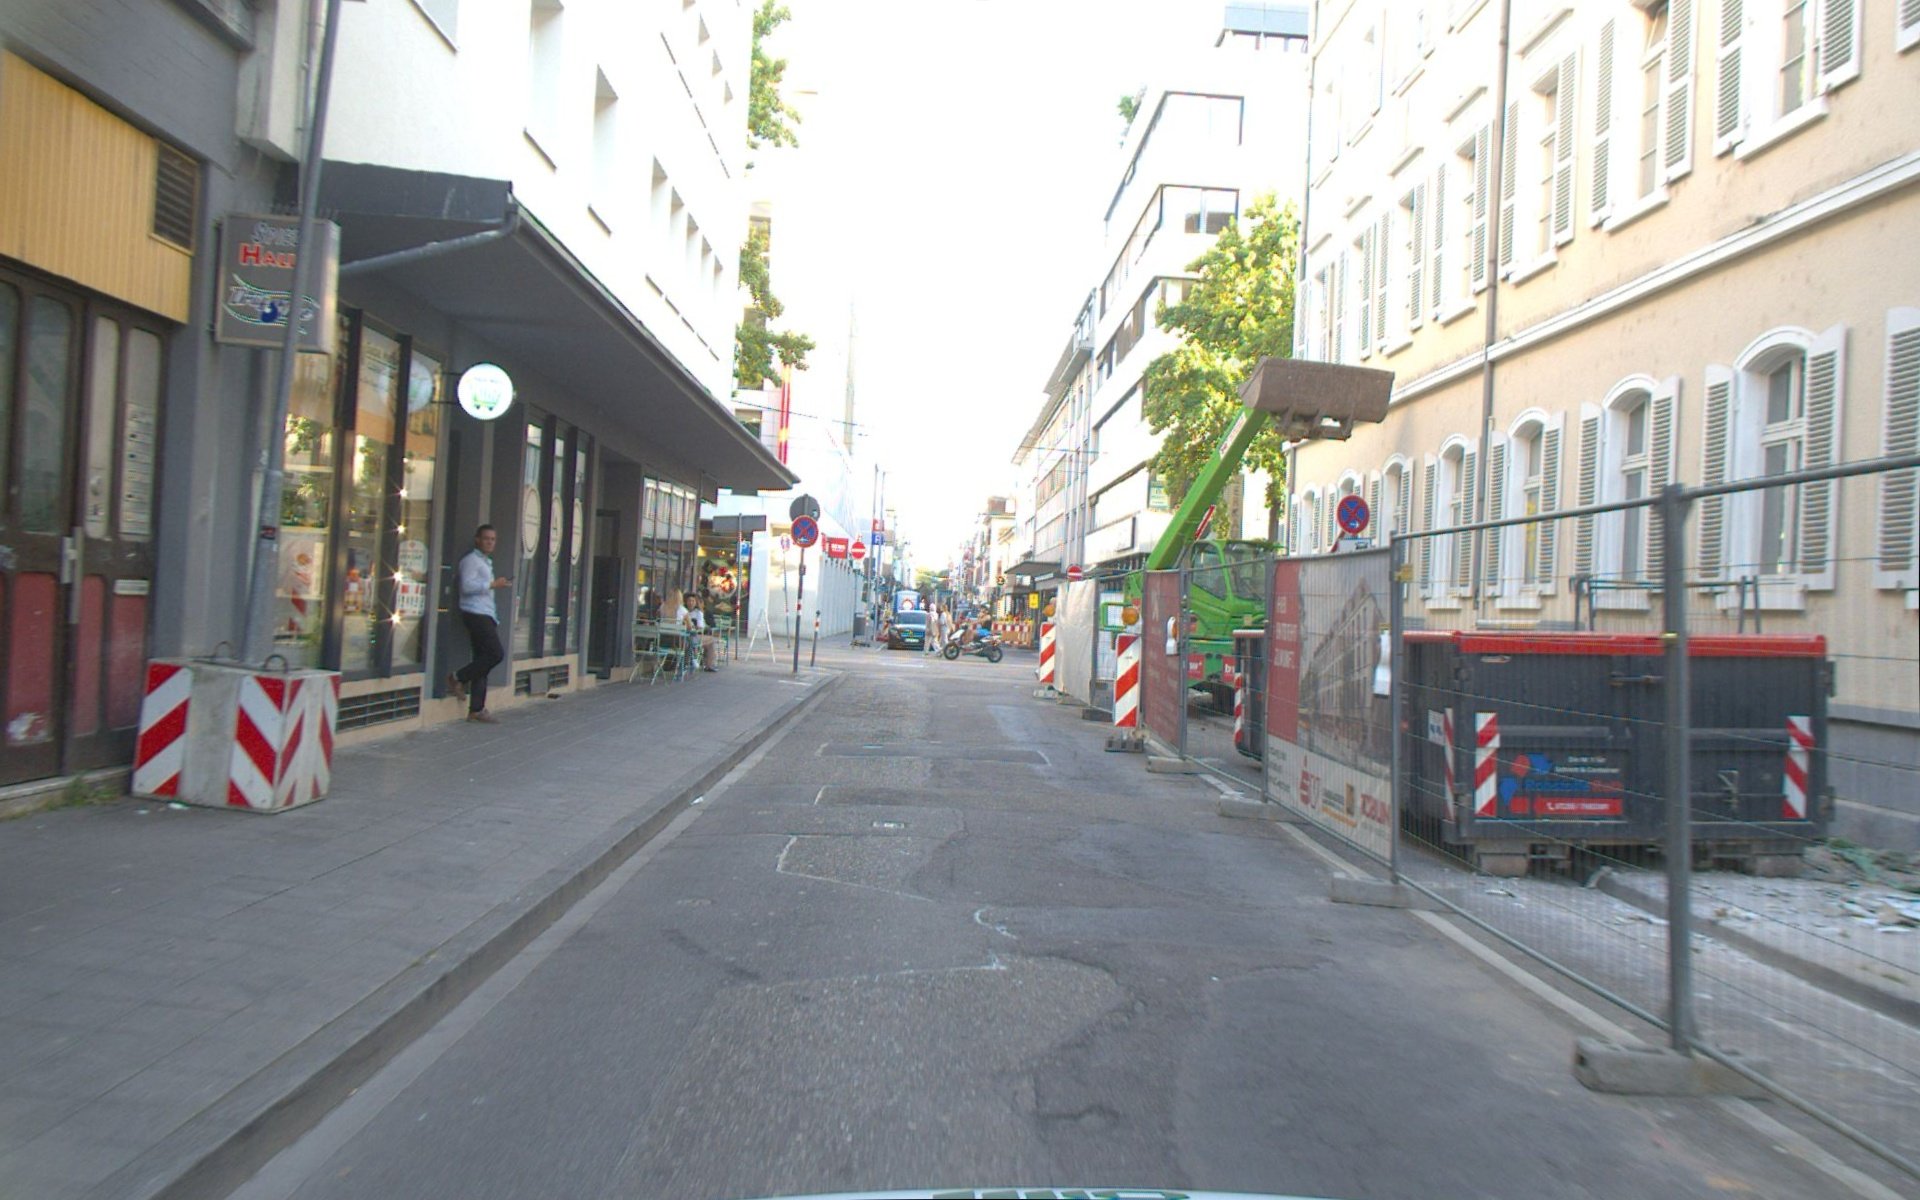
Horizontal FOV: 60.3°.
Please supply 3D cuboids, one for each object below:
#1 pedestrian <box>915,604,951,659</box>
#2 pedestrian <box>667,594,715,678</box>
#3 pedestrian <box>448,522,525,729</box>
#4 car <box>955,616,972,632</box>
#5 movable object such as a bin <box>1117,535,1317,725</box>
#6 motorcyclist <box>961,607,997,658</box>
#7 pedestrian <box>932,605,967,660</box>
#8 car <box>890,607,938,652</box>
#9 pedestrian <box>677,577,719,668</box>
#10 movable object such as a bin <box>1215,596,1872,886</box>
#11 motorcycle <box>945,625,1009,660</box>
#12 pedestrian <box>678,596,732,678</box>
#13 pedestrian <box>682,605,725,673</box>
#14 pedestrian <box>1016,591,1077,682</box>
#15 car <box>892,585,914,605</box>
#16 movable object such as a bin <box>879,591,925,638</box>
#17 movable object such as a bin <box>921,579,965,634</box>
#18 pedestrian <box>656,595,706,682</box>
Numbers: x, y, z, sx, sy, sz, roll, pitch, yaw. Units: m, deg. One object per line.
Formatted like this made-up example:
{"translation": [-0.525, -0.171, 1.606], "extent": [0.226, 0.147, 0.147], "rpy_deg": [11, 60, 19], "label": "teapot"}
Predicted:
{"translation": [-0.829, 0.966, 50.702], "extent": [0.607, 1.656, 0.859], "rpy_deg": [3, -1, -43], "label": "pedestrian"}
{"translation": [-4.351, 0.575, 26.743], "extent": [0.561, 1.297, 0.713], "rpy_deg": [5, 0, -1], "label": "pedestrian"}
{"translation": [-4.403, 0.235, 15.412], "extent": [0.520, 1.866, 0.562], "rpy_deg": [3, 0, -7], "label": "pedestrian"}
{"translation": [0.445, 2.894, 201.117], "extent": [1.953, 1.808, 3.999], "rpy_deg": [2, 0, -1], "label": "car"}
{"translation": [4.255, 0.481, 28.221], "extent": [2.552, 2.888, 4.449], "rpy_deg": [2, 0, -1], "label": "movable object such as a bin"}
{"translation": [0.546, 0.942, 48.084], "extent": [0.879, 1.413, 0.670], "rpy_deg": [3, -1, -11], "label": "motorcyclist"}
{"translation": [-0.335, 0.988, 51.099], "extent": [0.607, 1.656, 0.859], "rpy_deg": [3, -1, -43], "label": "pedestrian"}
{"translation": [-1.759, 1.086, 61.915], "extent": [1.597, 1.577, 3.139], "rpy_deg": [2, 0, -4], "label": "car"}
{"translation": [-5.052, 0.440, 31.947], "extent": [0.494, 1.696, 0.688], "rpy_deg": [4, -1, 8], "label": "pedestrian"}
{"translation": [4.290, 0.914, 14.244], "extent": [2.681, 1.667, 7.549], "rpy_deg": [4, 0, -2], "label": "movable object such as a bin"}
{"translation": [0.488, 1.230, 48.073], "extent": [1.722, 0.935, 0.640], "rpy_deg": [3, -1, -12], "label": "motorcycle"}
{"translation": [-4.272, 0.618, 27.743], "extent": [0.688, 1.297, 0.713], "rpy_deg": [5, 0, -1], "label": "pedestrian"}
{"translation": [-4.444, 0.669, 28.679], "extent": [0.561, 1.133, 0.713], "rpy_deg": [5, 0, -1], "label": "pedestrian"}
{"translation": [1.837, 0.778, 35.155], "extent": [1.056, 1.867, 0.693], "rpy_deg": [3, -1, -22], "label": "pedestrian"}
{"translation": [-5.387, -0.475, 156.846], "extent": [1.953, 1.808, 3.999], "rpy_deg": [2, 0, -1], "label": "car"}
{"translation": [-2.685, 0.669, 77.058], "extent": [1.953, 2.049, 3.999], "rpy_deg": [2, 0, -1], "label": "movable object such as a bin"}
{"translation": [-0.933, 0.371, 87.349], "extent": [2.113, 2.710, 4.571], "rpy_deg": [3, -1, -1], "label": "movable object such as a bin"}
{"translation": [-4.346, 0.595, 25.817], "extent": [0.561, 1.297, 0.713], "rpy_deg": [5, 0, -1], "label": "pedestrian"}
